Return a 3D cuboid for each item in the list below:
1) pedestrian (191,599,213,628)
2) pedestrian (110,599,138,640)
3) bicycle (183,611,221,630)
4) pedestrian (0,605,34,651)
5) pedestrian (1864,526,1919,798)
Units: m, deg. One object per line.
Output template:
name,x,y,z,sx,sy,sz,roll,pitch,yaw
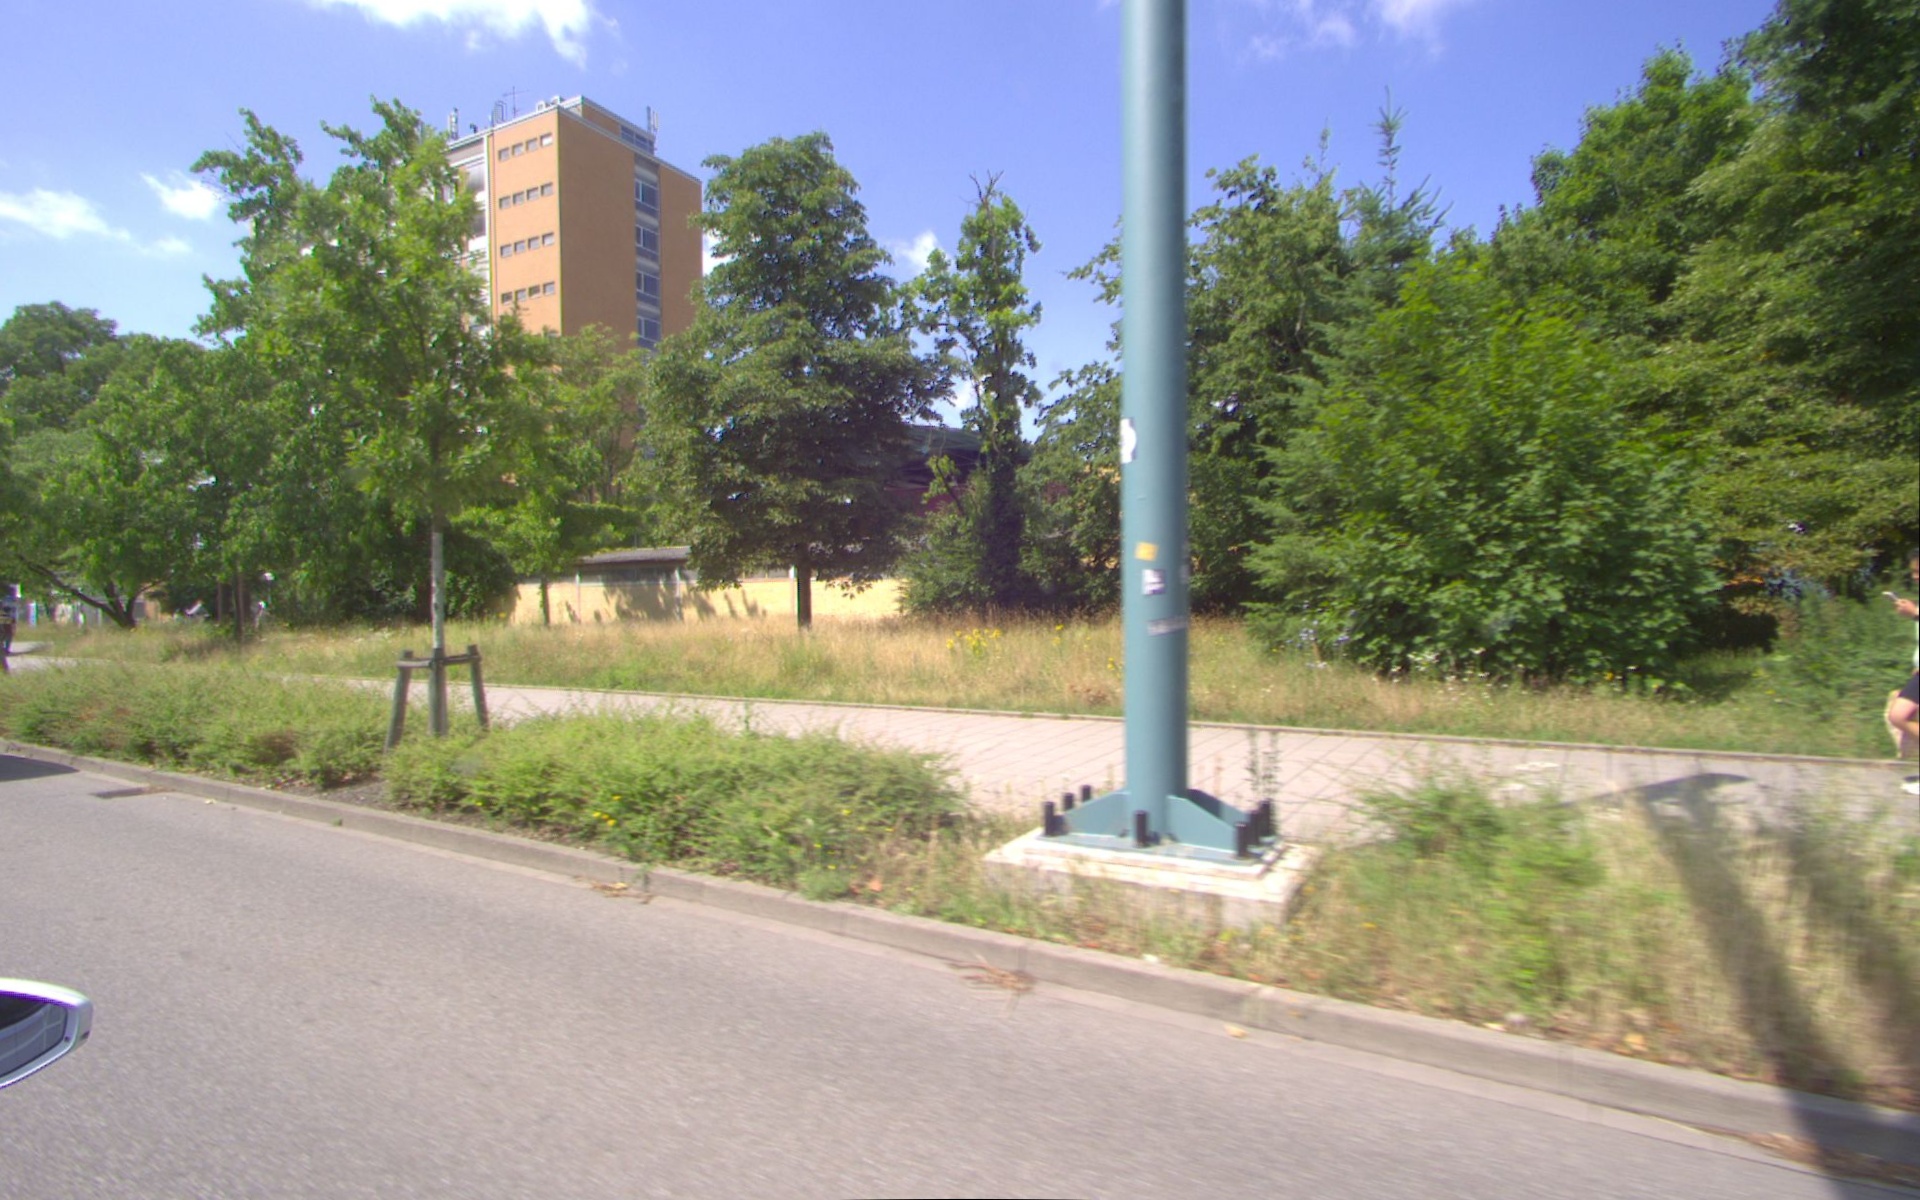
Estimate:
pedestrian,-39.082,0.706,51.628,0.891,1.491,0.482,-1,1,-38
pedestrian,-42.020,0.976,50.351,0.832,2.085,0.739,0,1,17
bicycle,-39.082,1.044,51.638,1.557,0.968,0.482,0,0,-39
pedestrian,-32.861,0.961,34.769,0.823,1.559,0.843,0,1,33
pedestrian,6.529,0.396,6.605,0.737,1.744,0.720,0,0,34
